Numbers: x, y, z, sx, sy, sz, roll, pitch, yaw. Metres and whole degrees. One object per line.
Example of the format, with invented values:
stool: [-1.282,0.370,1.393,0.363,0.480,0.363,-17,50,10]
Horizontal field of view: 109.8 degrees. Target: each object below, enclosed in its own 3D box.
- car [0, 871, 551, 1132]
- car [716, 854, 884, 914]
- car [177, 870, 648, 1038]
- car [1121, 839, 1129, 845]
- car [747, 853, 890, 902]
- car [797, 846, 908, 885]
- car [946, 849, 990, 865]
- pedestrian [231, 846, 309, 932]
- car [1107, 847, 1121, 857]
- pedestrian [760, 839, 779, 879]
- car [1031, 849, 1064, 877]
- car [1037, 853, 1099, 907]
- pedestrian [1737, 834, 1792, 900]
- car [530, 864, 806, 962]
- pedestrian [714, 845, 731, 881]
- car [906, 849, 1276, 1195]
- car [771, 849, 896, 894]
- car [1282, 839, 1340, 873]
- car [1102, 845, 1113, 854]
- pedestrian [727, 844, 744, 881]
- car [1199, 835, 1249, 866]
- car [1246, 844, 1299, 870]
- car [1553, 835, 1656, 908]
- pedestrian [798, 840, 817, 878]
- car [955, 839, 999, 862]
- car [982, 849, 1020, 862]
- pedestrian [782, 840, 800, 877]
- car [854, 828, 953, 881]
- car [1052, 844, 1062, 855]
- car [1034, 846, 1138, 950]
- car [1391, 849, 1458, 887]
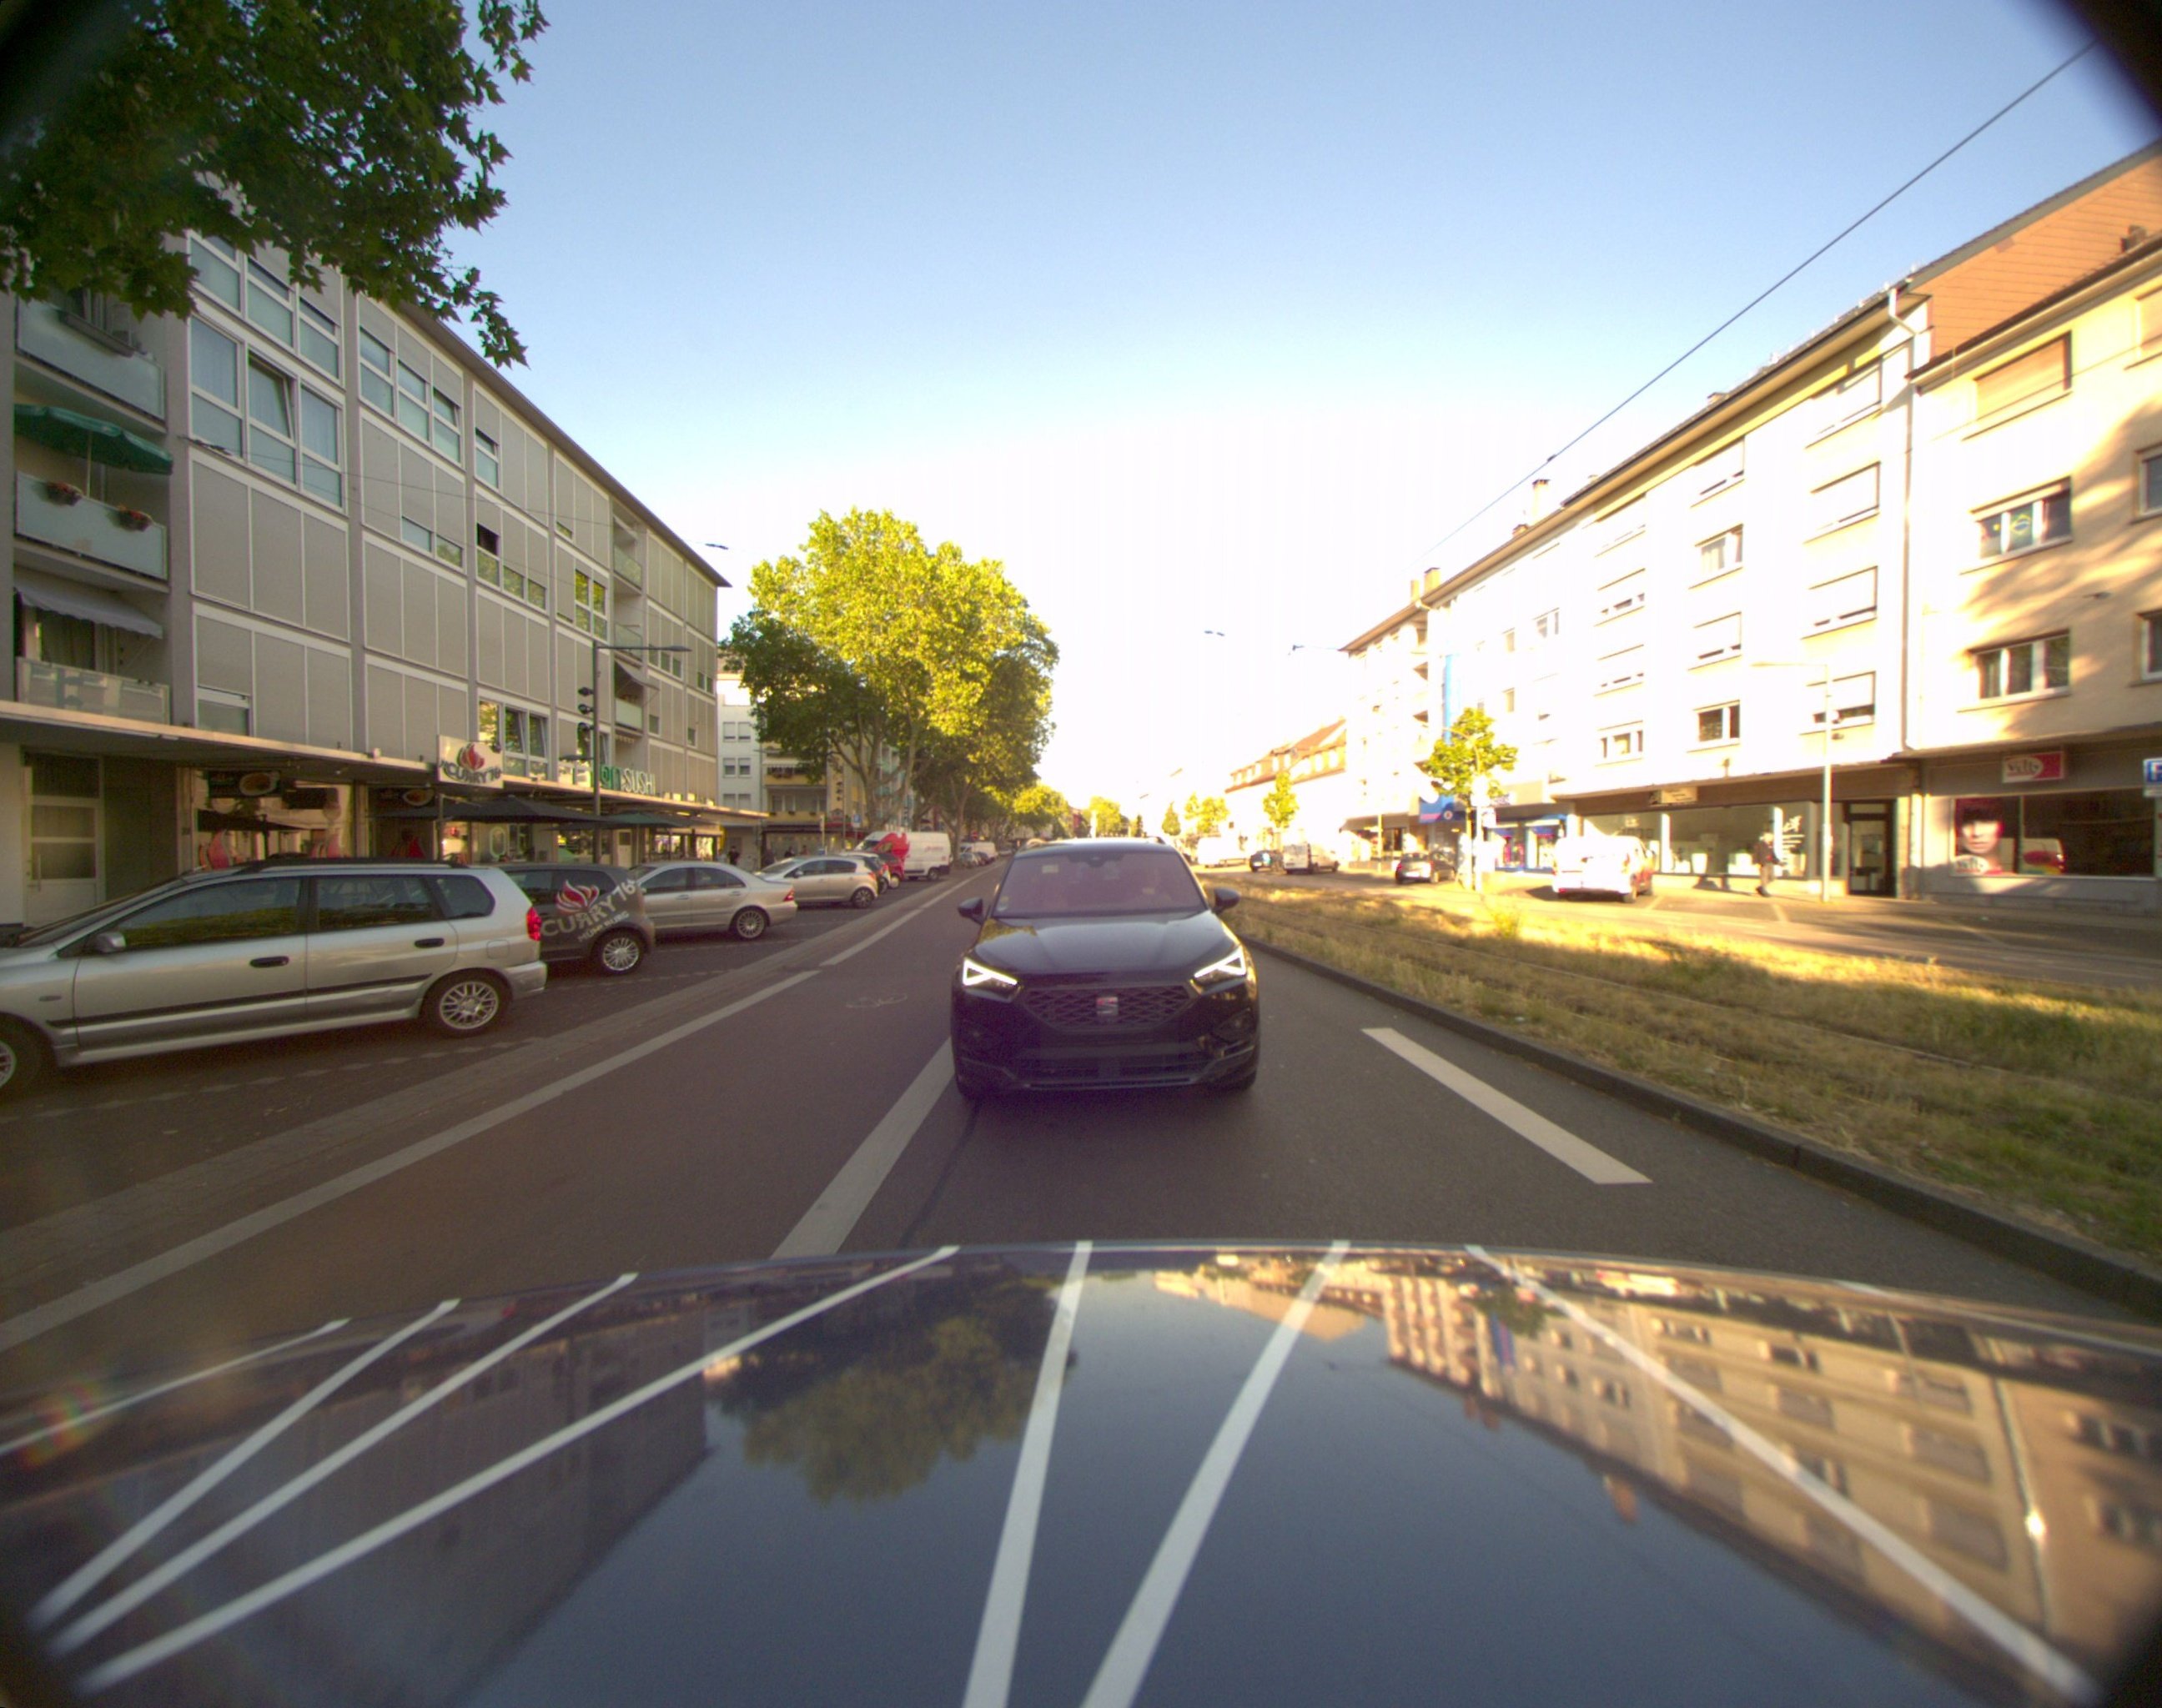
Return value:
car: [-6.838,0.965,6.032,1.672,1.533,3.993,2,1,38]
car: [-7.496,0.775,20.517,3.950,1.420,1.555,1,1,-45]
car: [-7.604,0.959,9.011,1.672,1.420,3.950,2,1,38]
car: [14.116,-3.783,242.967,2.497,1.871,5.275,0,1,5]
car: [-8.253,0.723,24.023,3.949,1.420,1.672,1,1,-34]
car: [-9.142,0.480,30.475,3.948,1.421,1.672,1,2,-32]
car: [-10.828,0.273,72.891,1.778,1.396,3.943,1,1,44]
pedestrian: [-15.094,0.633,14.157,0.583,1.573,0.771,0,1,2]
car: [5.466,-0.403,124.965,1.846,1.571,4.449,0,1,-3]
pedestrian: [-15.801,0.237,38.584,0.748,2.002,0.559,0,1,-4]
car: [-1.914,0.489,44.308,1.729,1.443,4.227,-2,1,-1]
car: [-0.389,0.745,23.745,1.729,1.467,3.999,-2,1,-1]
pedestrian: [19.391,0.365,21.578,0.757,1.817,0.917,-1,1,1]
car: [-7.114,0.912,13.400,1.592,1.393,3.950,2,1,41]
pedestrian: [-16.359,0.417,34.708,0.537,1.630,0.478,0,1,-4]
car: [0.081,0.836,5.799,1.785,1.639,3.999,-2,1,1]
car: [-8.842,0.637,27.255,3.948,1.421,1.672,2,2,-32]
car: [14.531,0.102,47.821,1.853,1.927,4.513,-1,1,40]
car: [5.898,-1.008,167.463,1.999,1.783,3.998,0,1,-4]
pedestrian: [-15.808,0.384,34.773,0.545,1.710,0.457,0,1,-4]
car: [12.966,-0.374,68.673,1.922,2.599,6.601,-1,1,34]
car: [13.812,0.181,54.693,3.922,1.704,1.853,-2,1,-45]
car: [15.619,0.443,22.585,1.853,1.888,4.007,-1,2,44]
pedestrian: [-14.605,0.253,40.614,0.748,2.002,0.764,0,1,-4]
car: [-11.584,-0.423,85.065,1.973,2.454,4.605,1,1,44]
car: [-8.631,0.159,82.198,1.778,1.326,3.943,1,1,44]
pedestrian: [-15.488,0.261,40.625,0.748,1.964,0.575,0,1,-4]
car: [-8.758,0.048,37.826,4.606,2.479,1.672,0,0,-44]
car: [-6.883,-1.406,217.933,2.660,2.989,7.131,-2,1,-2]
car: [0.061,0.700,14.473,1.646,1.646,3.999,-2,1,-1]
car: [15.396,0.585,33.980,1.731,1.489,4.008,-1,1,40]
